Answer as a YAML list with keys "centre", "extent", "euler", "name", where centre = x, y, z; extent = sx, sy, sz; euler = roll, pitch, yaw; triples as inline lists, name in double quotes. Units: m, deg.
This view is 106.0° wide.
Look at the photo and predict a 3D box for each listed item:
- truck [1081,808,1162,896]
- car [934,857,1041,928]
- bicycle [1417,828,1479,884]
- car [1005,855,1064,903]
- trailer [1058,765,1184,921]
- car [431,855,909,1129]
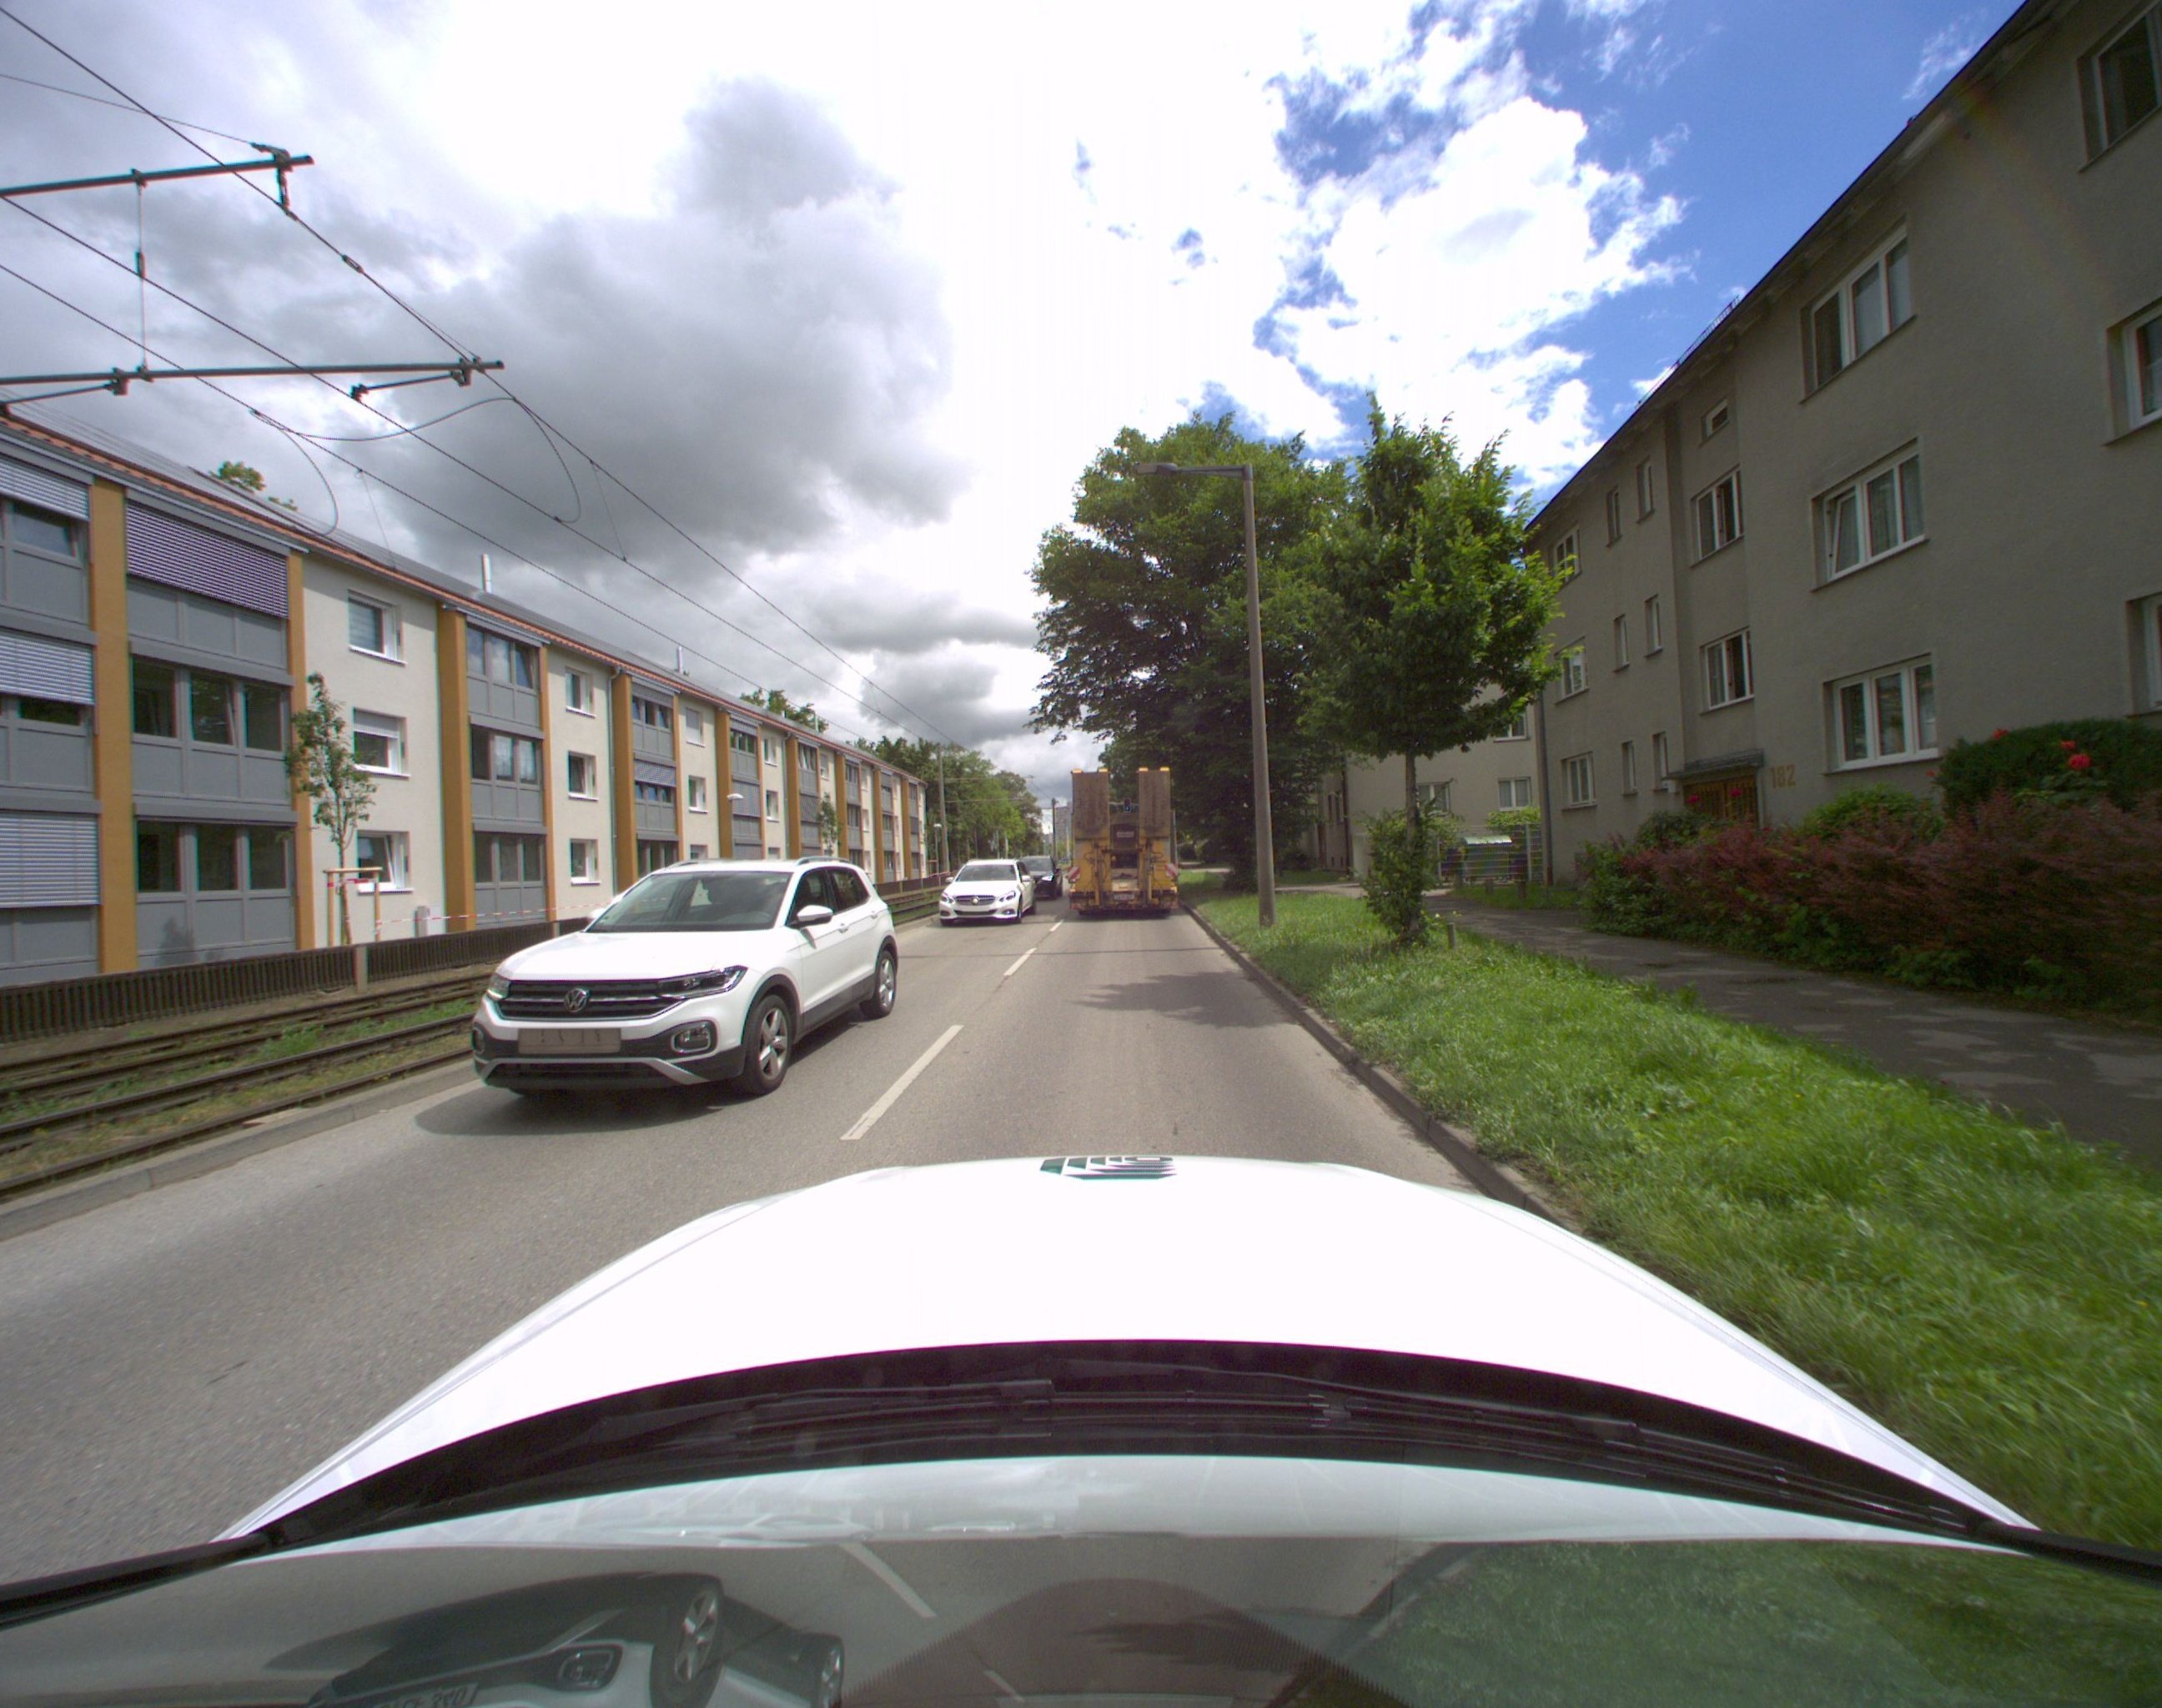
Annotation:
- centre: [1.692, -0.080, 33.567]
  extent: [2.905, 3.167, 7.687]
  euler: [-1, 0, 3]
  name: "truck"
- centre: [-2.159, 0.860, 20.095]
  extent: [1.871, 1.481, 4.532]
  euler: [-1, 0, 3]
  name: "car"
- centre: [10.896, 0.056, 24.206]
  extent: [1.341, 1.574, 1.073]
  euler: [-3, 0, 5]
  name: "bicycle"
- centre: [-1.591, 0.841, 29.238]
  extent: [1.643, 1.520, 3.869]
  euler: [-2, 0, 3]
  name: "car"
- centre: [1.168, -0.265, 24.231]
  extent: [2.811, 3.524, 11.059]
  euler: [-1, 0, 3]
  name: "trailer"
- centre: [-2.811, 0.810, 6.684]
  extent: [1.710, 1.552, 3.921]
  euler: [-2, 0, 3]
  name: "car"
